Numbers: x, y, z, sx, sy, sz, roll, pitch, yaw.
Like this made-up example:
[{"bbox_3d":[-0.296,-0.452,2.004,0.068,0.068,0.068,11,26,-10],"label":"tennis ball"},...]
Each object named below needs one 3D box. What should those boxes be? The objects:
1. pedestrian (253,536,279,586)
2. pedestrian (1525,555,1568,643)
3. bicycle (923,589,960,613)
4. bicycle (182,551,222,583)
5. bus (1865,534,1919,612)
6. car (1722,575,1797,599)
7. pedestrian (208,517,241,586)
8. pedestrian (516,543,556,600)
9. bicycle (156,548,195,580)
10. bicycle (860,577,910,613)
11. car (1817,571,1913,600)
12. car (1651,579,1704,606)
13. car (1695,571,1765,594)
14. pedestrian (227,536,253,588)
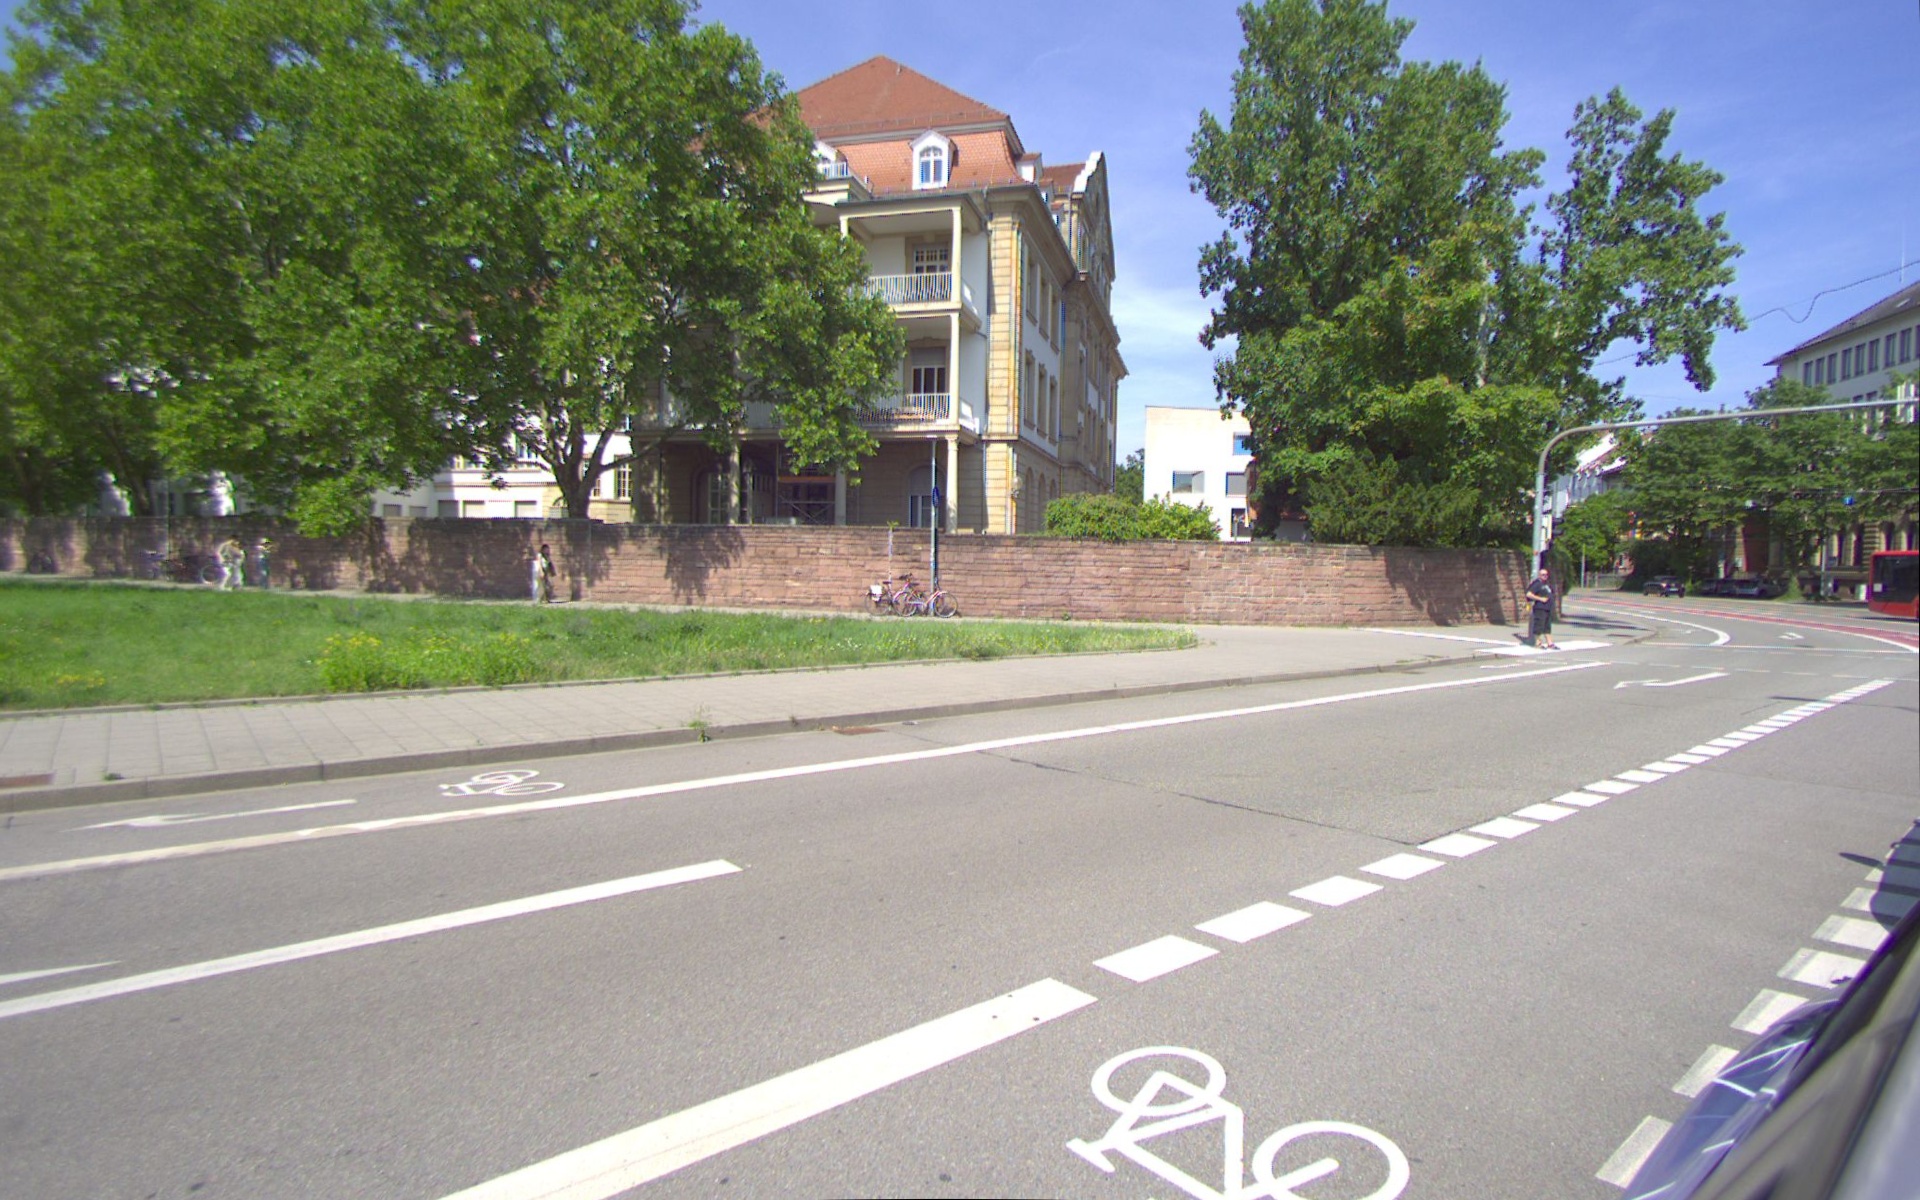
[{"bbox_3d":[-22.189,-1.250,32.349,0.700,1.597,0.516,3,3,41],"label":"pedestrian"},{"bbox_3d":[13.795,-0.039,23.808,0.790,2.038,0.608,2,2,35],"label":"pedestrian"},{"bbox_3d":[-0.490,0.025,26.298,0.929,0.609,0.275,1,2,-2],"label":"bicycle"},{"bbox_3d":[-25.820,-1.116,34.472,1.432,1.046,0.444,2,2,24],"label":"bicycle"},{"bbox_3d":[39.509,-1.033,37.313,3.083,3.133,12.377,-1,1,10],"label":"bus"},{"bbox_3d":[60.619,-1.003,76.832,3.941,1.682,1.993,-1,3,14],"label":"car"},{"bbox_3d":[-21.973,-1.457,30.255,0.586,2.038,0.522,1,2,9],"label":"pedestrian"},{"bbox_3d":[-11.796,-0.794,28.148,0.900,1.567,0.501,2,2,13],"label":"pedestrian"},{"bbox_3d":[-27.217,-1.257,35.100,1.432,1.046,0.444,2,2,24],"label":"bicycle"},{"bbox_3d":[-1.937,-0.136,26.088,1.202,0.894,0.395,0,2,-21],"label":"bicycle"},{"bbox_3d":[56.331,-0.897,63.095,3.940,1.682,1.993,-1,3,14],"label":"car"},{"bbox_3d":[53.192,-0.558,75.115,1.973,1.915,3.979,0,1,17],"label":"car"},{"bbox_3d":[61.899,-1.436,81.415,3.943,1.682,1.992,0,3,16],"label":"car"},{"bbox_3d":[-22.499,-1.204,31.614,0.700,1.597,0.516,3,3,41],"label":"pedestrian"}]
